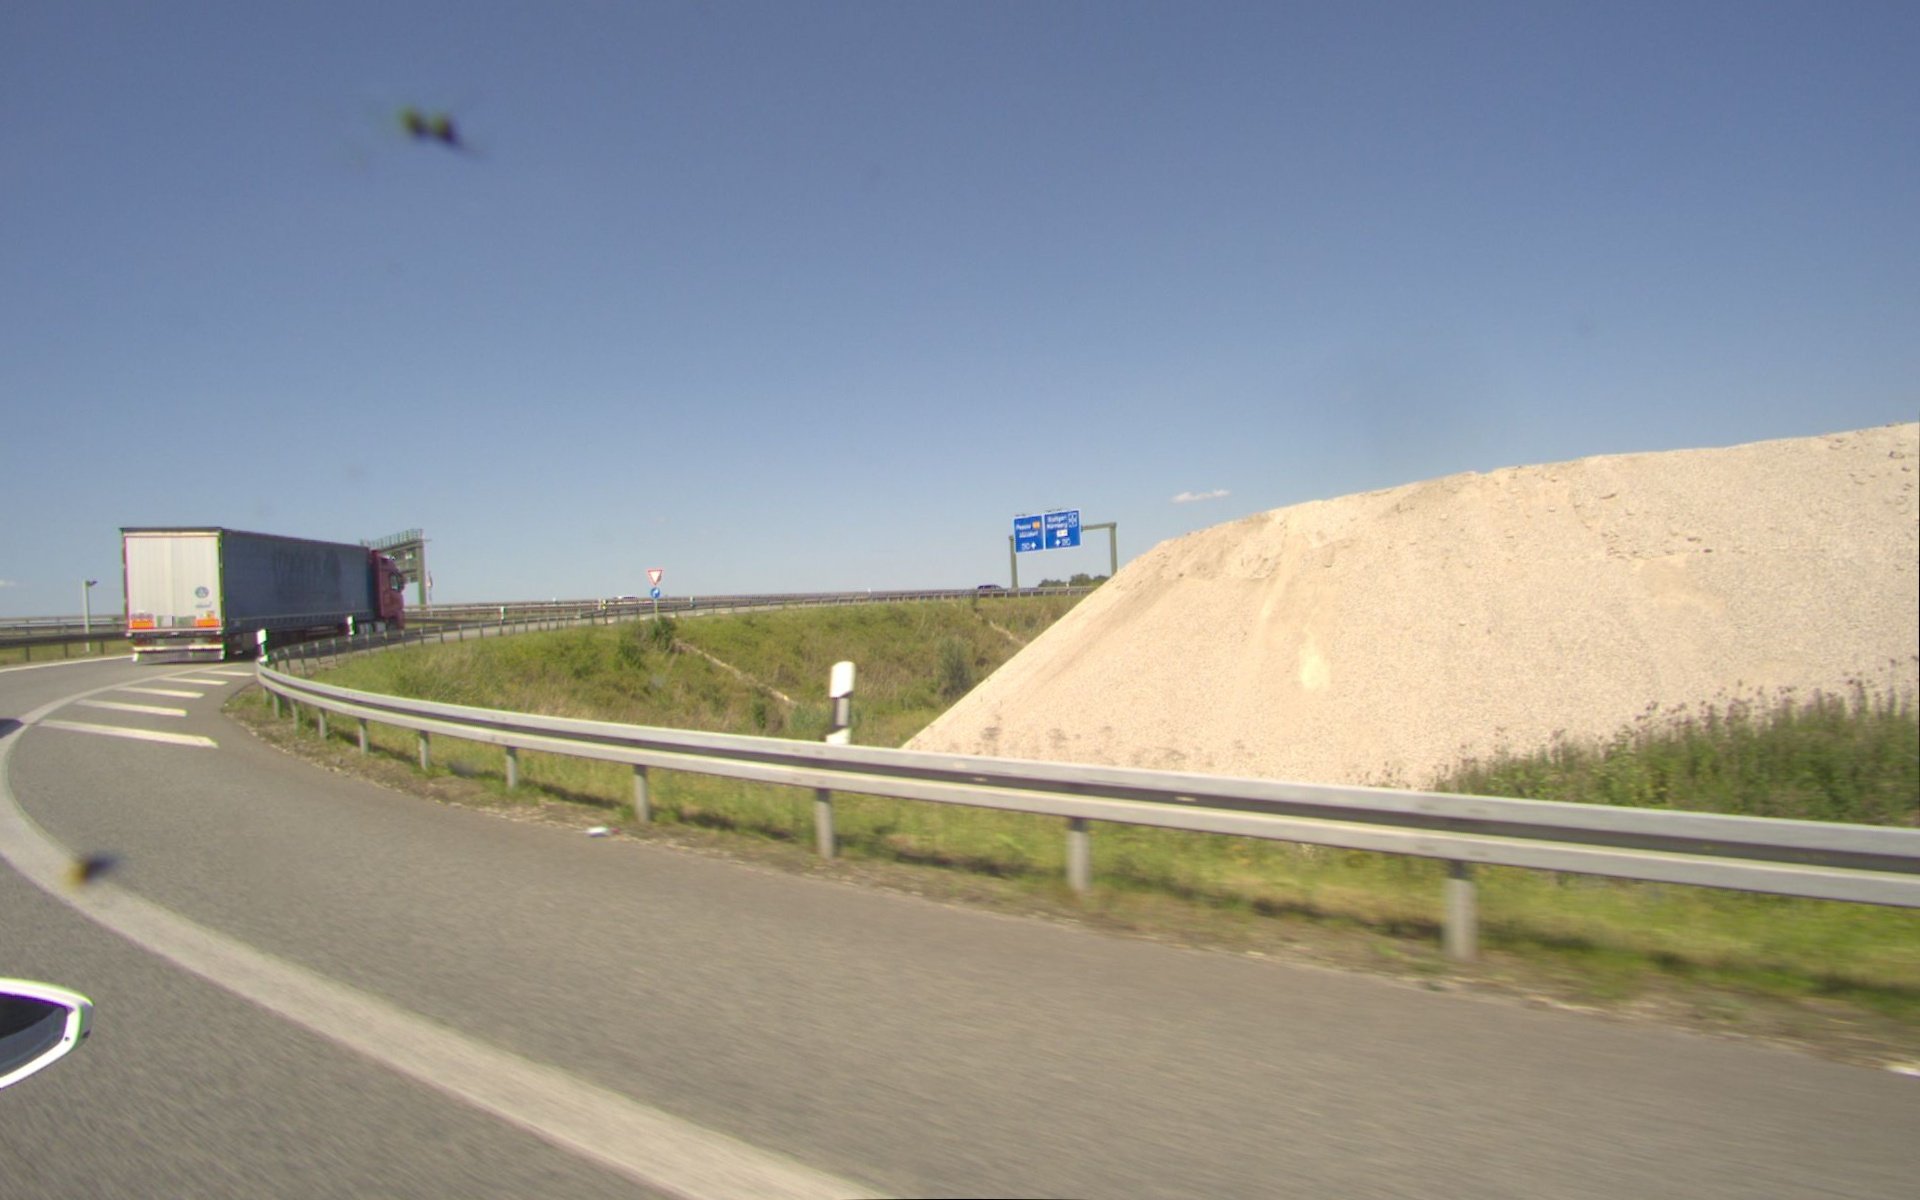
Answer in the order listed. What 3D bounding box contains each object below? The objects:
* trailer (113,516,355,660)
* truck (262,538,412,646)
[{"bbox_3d":[-24.692,-0.305,35.032,2.869,4.200,11.241,-1,0,-14],"label":"trailer"},{"bbox_3d":[-26.247,-0.297,42.615,2.866,4.200,6.921,-1,0,-9],"label":"truck"}]
